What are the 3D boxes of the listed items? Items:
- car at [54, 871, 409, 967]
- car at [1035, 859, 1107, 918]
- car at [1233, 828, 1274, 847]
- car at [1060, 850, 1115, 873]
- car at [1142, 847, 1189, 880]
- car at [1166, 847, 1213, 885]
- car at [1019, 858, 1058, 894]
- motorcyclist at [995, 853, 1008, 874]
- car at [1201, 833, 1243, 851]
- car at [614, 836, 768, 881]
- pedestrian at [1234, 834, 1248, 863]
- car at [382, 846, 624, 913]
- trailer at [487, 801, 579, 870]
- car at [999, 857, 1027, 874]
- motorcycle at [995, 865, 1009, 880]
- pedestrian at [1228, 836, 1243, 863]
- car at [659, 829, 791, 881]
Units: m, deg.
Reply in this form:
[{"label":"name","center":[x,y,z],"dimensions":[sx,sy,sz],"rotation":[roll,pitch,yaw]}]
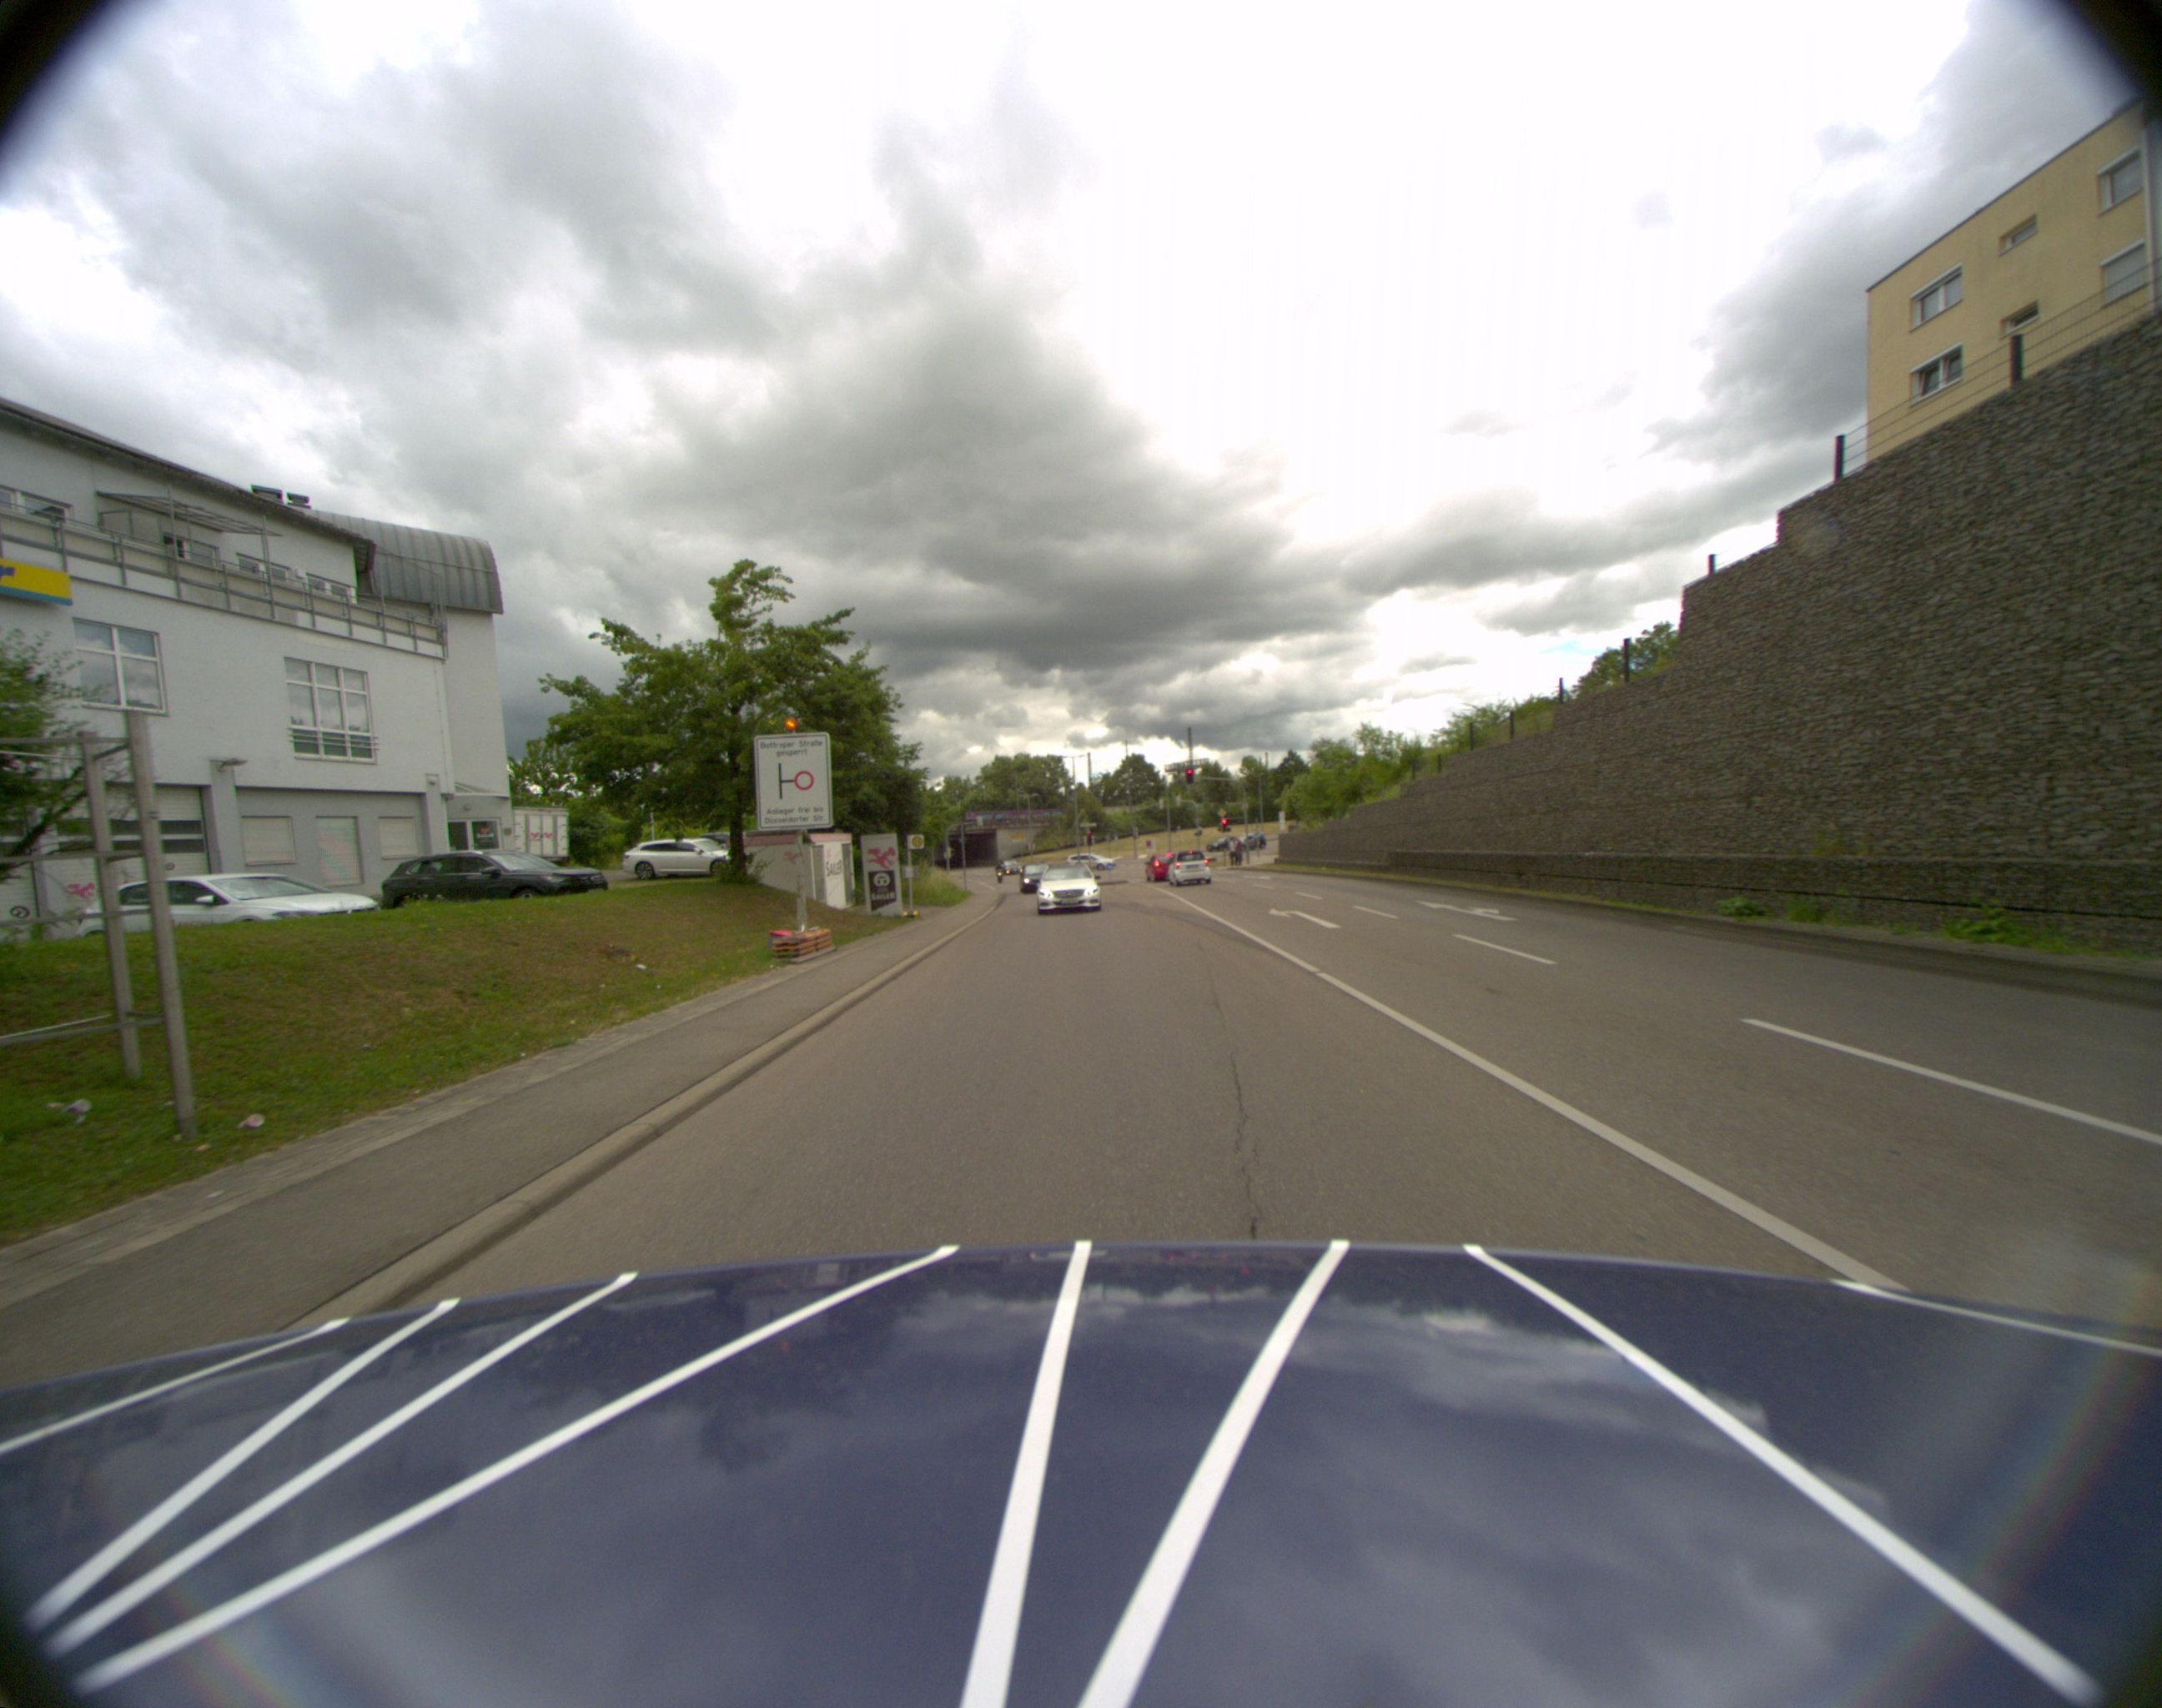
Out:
[{"label":"car","center":[-14.081,1.040,12.773],"dimensions":[3.881,1.226,1.870],"rotation":[-3,2,3]},{"label":"car","center":[-0.364,1.002,23.759],"dimensions":[1.905,1.471,4.093],"rotation":[-5,0,-2]},{"label":"car","center":[18.703,-1.804,82.299],"dimensions":[4.268,1.719,1.756],"rotation":[-7,2,-32]},{"label":"car","center":[0.566,0.647,68.621],"dimensions":[4.502,1.629,1.833],"rotation":[-4,2,25]},{"label":"car","center":[4.498,0.512,40.968],"dimensions":[1.759,1.514,4.092],"rotation":[-5,0,-3]},{"label":"car","center":[4.891,0.530,34.613],"dimensions":[1.547,1.514,2.913],"rotation":[-5,1,-1]},{"label":"car","center":[-2.304,1.128,40.327],"dimensions":[1.759,1.532,3.997],"rotation":[-6,2,-6]},{"label":"motorcyclist","center":[-6.361,0.740,60.710],"dimensions":[0.883,1.596,1.242],"rotation":[-5,2,-8]},{"label":"car","center":[15.934,-1.379,85.662],"dimensions":[4.268,1.543,2.106],"rotation":[-6,2,-31]},{"label":"car","center":[-14.199,0.131,27.832],"dimensions":[4.706,1.373,1.715],"rotation":[-3,3,3]},{"label":"pedestrian","center":[10.308,-0.357,49.032],"dimensions":[0.623,1.817,0.665],"rotation":[-5,2,4]},{"label":"car","center":[-13.104,0.550,17.413],"dimensions":[4.047,1.226,1.912],"rotation":[-3,2,3]},{"label":"trailer","center":[-28.383,-0.894,39.239],"dimensions":[6.476,3.038,2.474],"rotation":[-3,3,44]},{"label":"car","center":[-7.139,1.178,79.338],"dimensions":[1.761,1.525,4.247],"rotation":[-6,2,-20]},{"label":"motorcycle","center":[-6.327,1.479,60.938],"dimensions":[0.883,1.098,2.358],"rotation":[-5,2,-9]},{"label":"pedestrian","center":[10.126,-0.315,49.774],"dimensions":[0.664,1.669,0.625],"rotation":[-4,3,28]},{"label":"car","center":[-14.532,0.028,31.086],"dimensions":[4.506,1.629,1.832],"rotation":[-5,2,10]}]
